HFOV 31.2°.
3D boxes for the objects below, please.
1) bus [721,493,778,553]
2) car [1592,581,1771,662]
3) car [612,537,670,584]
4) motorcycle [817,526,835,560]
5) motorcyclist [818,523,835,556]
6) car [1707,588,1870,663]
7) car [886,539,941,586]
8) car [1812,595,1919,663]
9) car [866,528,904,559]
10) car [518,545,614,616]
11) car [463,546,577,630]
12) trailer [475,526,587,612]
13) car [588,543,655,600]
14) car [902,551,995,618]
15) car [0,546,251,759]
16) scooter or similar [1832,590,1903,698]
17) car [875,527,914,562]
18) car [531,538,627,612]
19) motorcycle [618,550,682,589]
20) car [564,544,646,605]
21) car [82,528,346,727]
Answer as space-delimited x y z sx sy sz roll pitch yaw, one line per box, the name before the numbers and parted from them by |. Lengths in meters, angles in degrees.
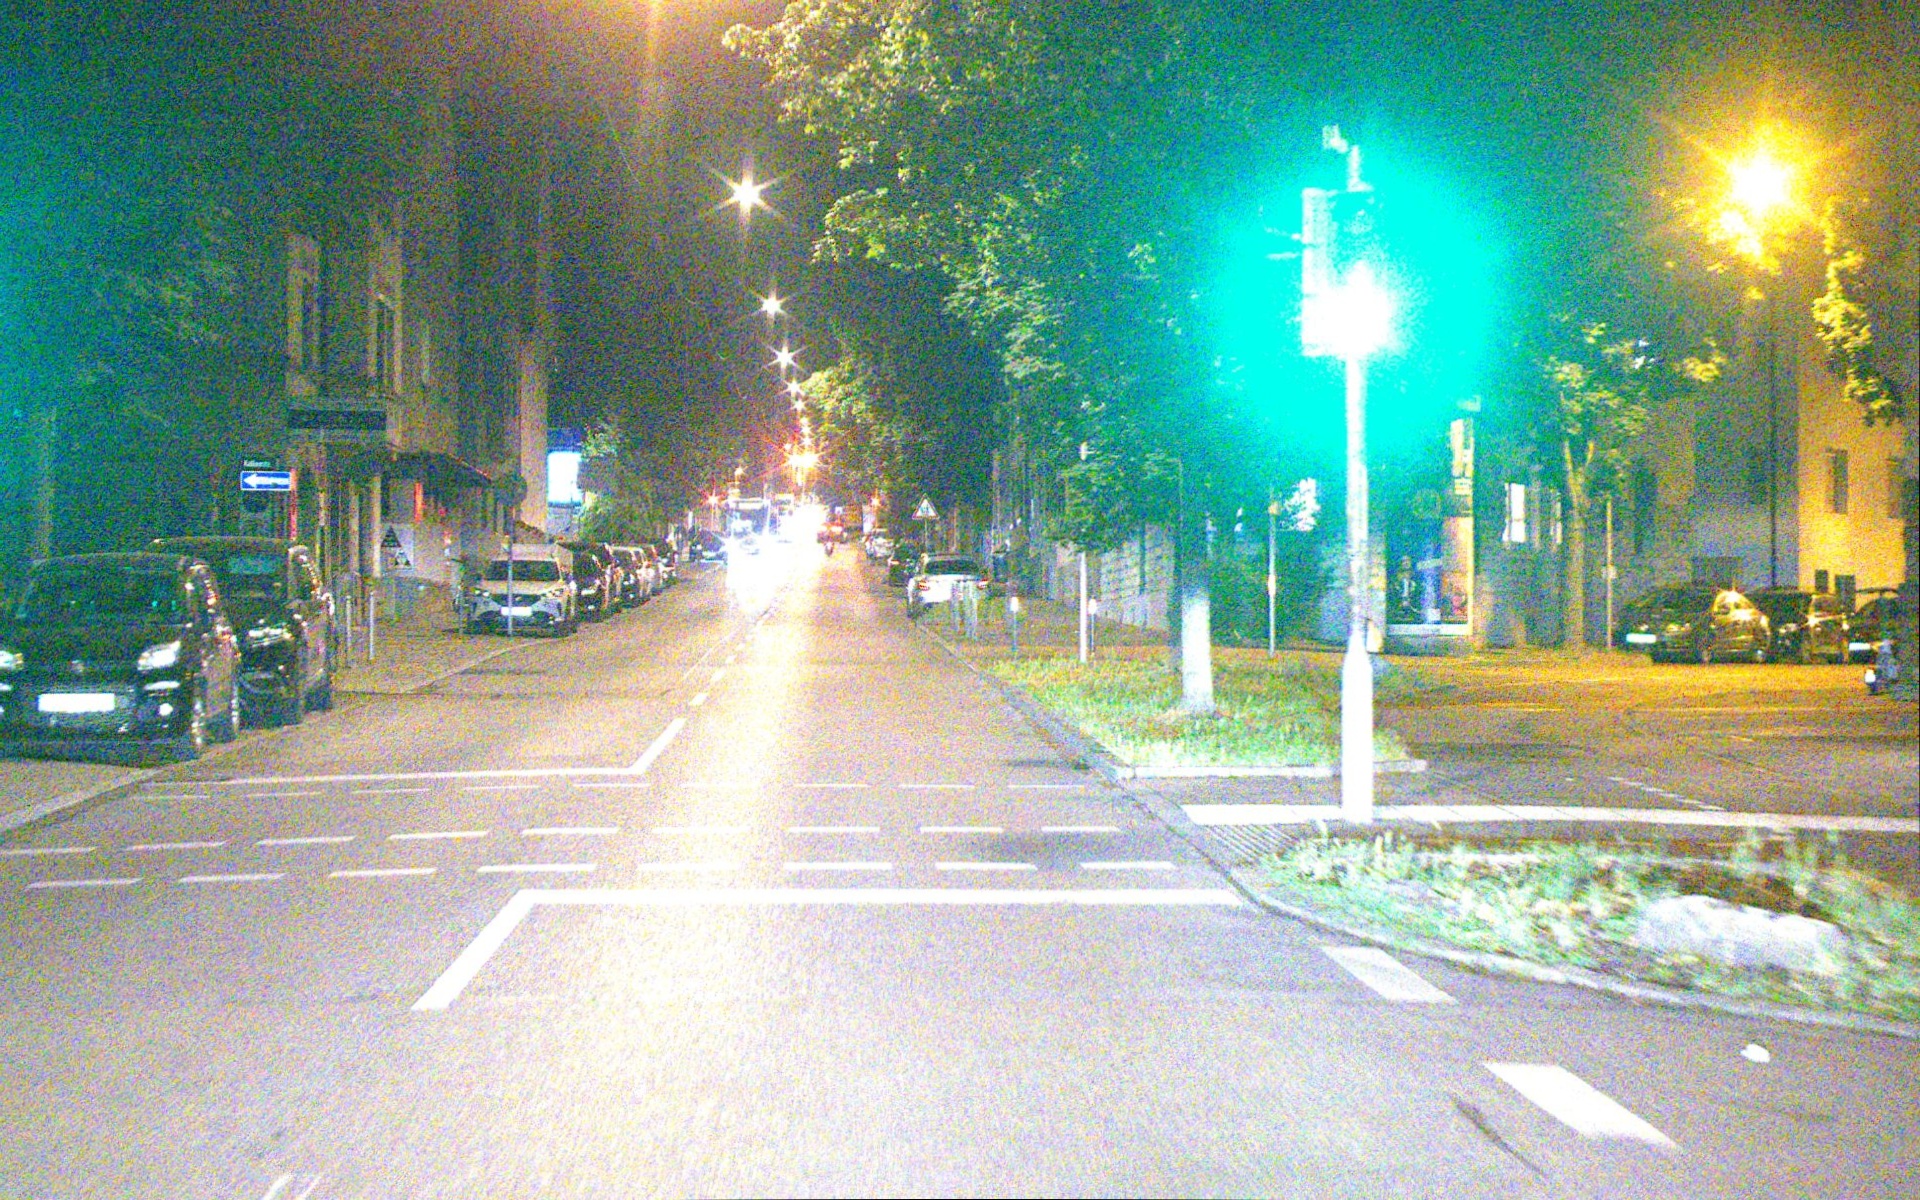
bus | -11.695 -4.320 191.393 2.837 3.166 10.500 1 1 -2
car | 13.282 0.394 63.176 1.800 1.412 3.829 2 0 36
car | -10.431 -1.280 112.620 1.638 1.493 2.765 1 0 0
motorcycle | -7.164 -3.051 184.287 0.931 1.746 2.625 1 0 -2
motorcyclist | -7.162 -3.254 184.288 0.848 1.746 0.805 1 0 -2
car | 16.434 0.501 68.065 1.800 1.412 3.829 2 0 36
car | -1.578 -1.280 116.320 1.763 1.471 4.081 -1 2 -2
car | 19.544 0.609 72.356 1.773 1.336 3.911 2 0 36
car | -3.888 -2.965 178.442 1.868 1.521 4.150 -1 2 -2
car | -8.540 -0.448 74.799 1.835 1.442 4.545 0 1 -3
car | -8.175 -0.251 64.192 1.814 1.479 4.348 1 1 -4
trailer | -8.559 -0.617 68.836 1.638 1.634 3.439 1 0 2
car | -9.150 -0.769 93.098 1.621 1.486 3.781 1 0 -3
car | -0.288 -0.361 77.820 1.845 1.412 4.646 -2 1 -3
car | -6.542 0.358 26.633 1.647 1.509 3.703 1 0 -6
scooter or similar | 9.941 0.474 37.633 0.499 1.142 1.664 -2 -1 22
car | -3.156 -2.670 165.122 1.812 1.588 4.274 -1 2 -2
car | -8.820 -0.603 79.961 1.835 1.613 4.545 1 1 -2
motorcycle | -9.474 -0.928 105.076 0.714 1.143 2.208 -1 2 -44
car | -9.108 -0.671 88.495 1.863 1.486 4.281 1 0 -3
car | -6.862 0.190 32.048 1.848 1.644 4.673 1 1 -6
